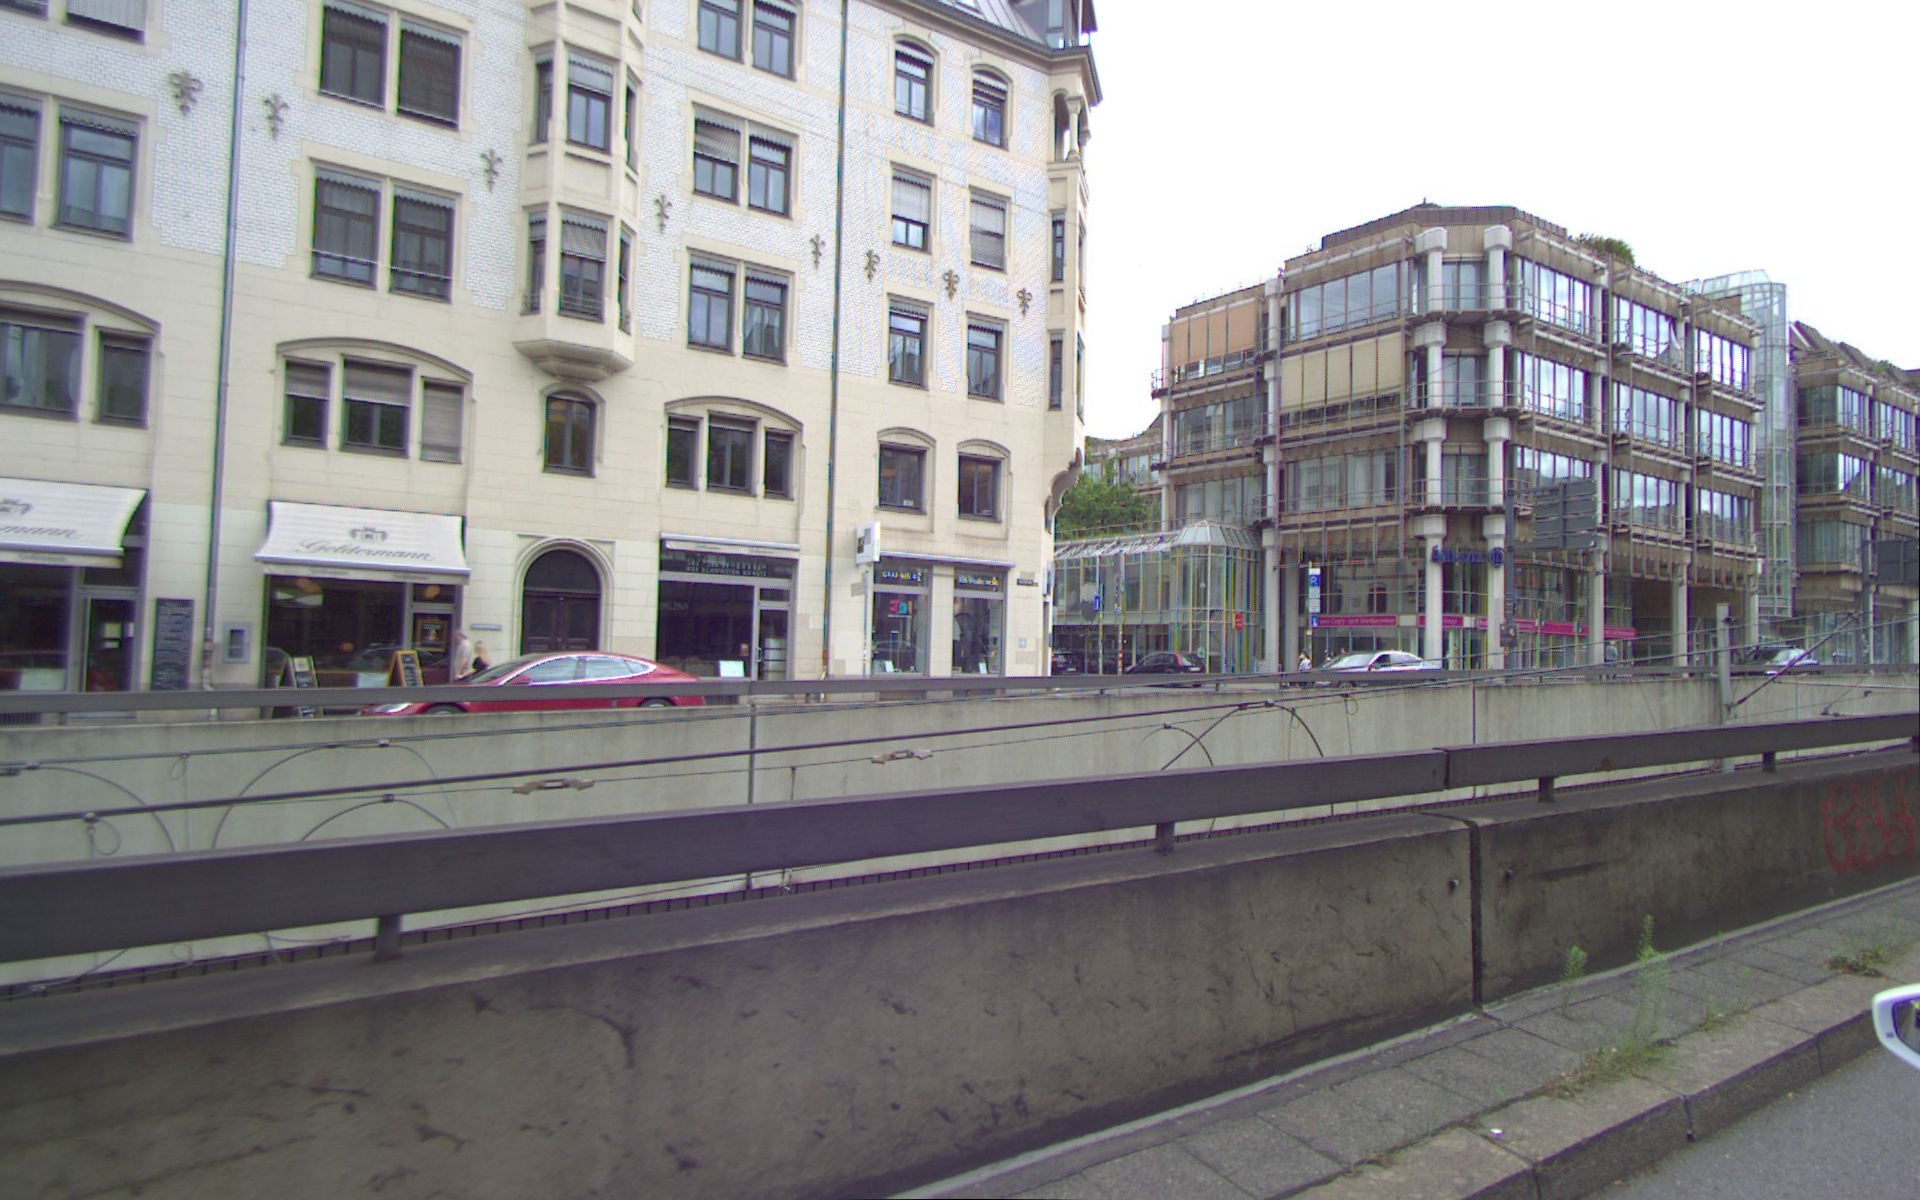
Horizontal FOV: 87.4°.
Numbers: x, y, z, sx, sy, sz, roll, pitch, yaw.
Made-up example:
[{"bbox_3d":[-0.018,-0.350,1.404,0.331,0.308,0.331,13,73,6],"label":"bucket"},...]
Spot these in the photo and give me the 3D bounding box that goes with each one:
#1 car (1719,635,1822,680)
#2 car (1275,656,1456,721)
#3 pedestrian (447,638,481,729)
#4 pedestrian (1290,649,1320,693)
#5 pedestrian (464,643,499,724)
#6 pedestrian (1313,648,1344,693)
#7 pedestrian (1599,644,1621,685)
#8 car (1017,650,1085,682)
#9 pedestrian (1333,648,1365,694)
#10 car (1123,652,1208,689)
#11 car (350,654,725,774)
[{"bbox_3d":[33.764,2.362,41.850,4.231,1.791,1.984,2,-3,-31],"label":"car"},{"bbox_3d":[11.106,2.343,27.437,4.827,1.606,1.986,1,-3,-28],"label":"car"},{"bbox_3d":[-9.896,1.645,20.053,0.576,1.780,0.477,1,-3,-28],"label":"pedestrian"},{"bbox_3d":[12.501,2.546,36.422,0.839,1.564,0.695,2,-3,-38],"label":"pedestrian"},{"bbox_3d":[-9.380,1.628,19.691,0.576,1.557,0.477,1,-3,-28],"label":"pedestrian"},{"bbox_3d":[13.149,2.514,35.862,0.839,1.564,0.695,2,-3,-38],"label":"pedestrian"},{"bbox_3d":[29.160,2.896,45.068,0.686,1.816,0.530,1,-3,-30],"label":"pedestrian"},{"bbox_3d":[4.442,3.211,49.279,1.631,1.455,3.429,1,-3,-31],"label":"car"},{"bbox_3d":[13.652,2.483,35.261,0.839,1.564,0.695,2,-3,-38],"label":"pedestrian"},{"bbox_3d":[8.566,2.904,42.075,1.631,1.455,3.429,1,-3,-31],"label":"car"},{"bbox_3d":[-6.206,1.576,15.091,4.843,1.483,1.978,2,-3,-39],"label":"car"}]
